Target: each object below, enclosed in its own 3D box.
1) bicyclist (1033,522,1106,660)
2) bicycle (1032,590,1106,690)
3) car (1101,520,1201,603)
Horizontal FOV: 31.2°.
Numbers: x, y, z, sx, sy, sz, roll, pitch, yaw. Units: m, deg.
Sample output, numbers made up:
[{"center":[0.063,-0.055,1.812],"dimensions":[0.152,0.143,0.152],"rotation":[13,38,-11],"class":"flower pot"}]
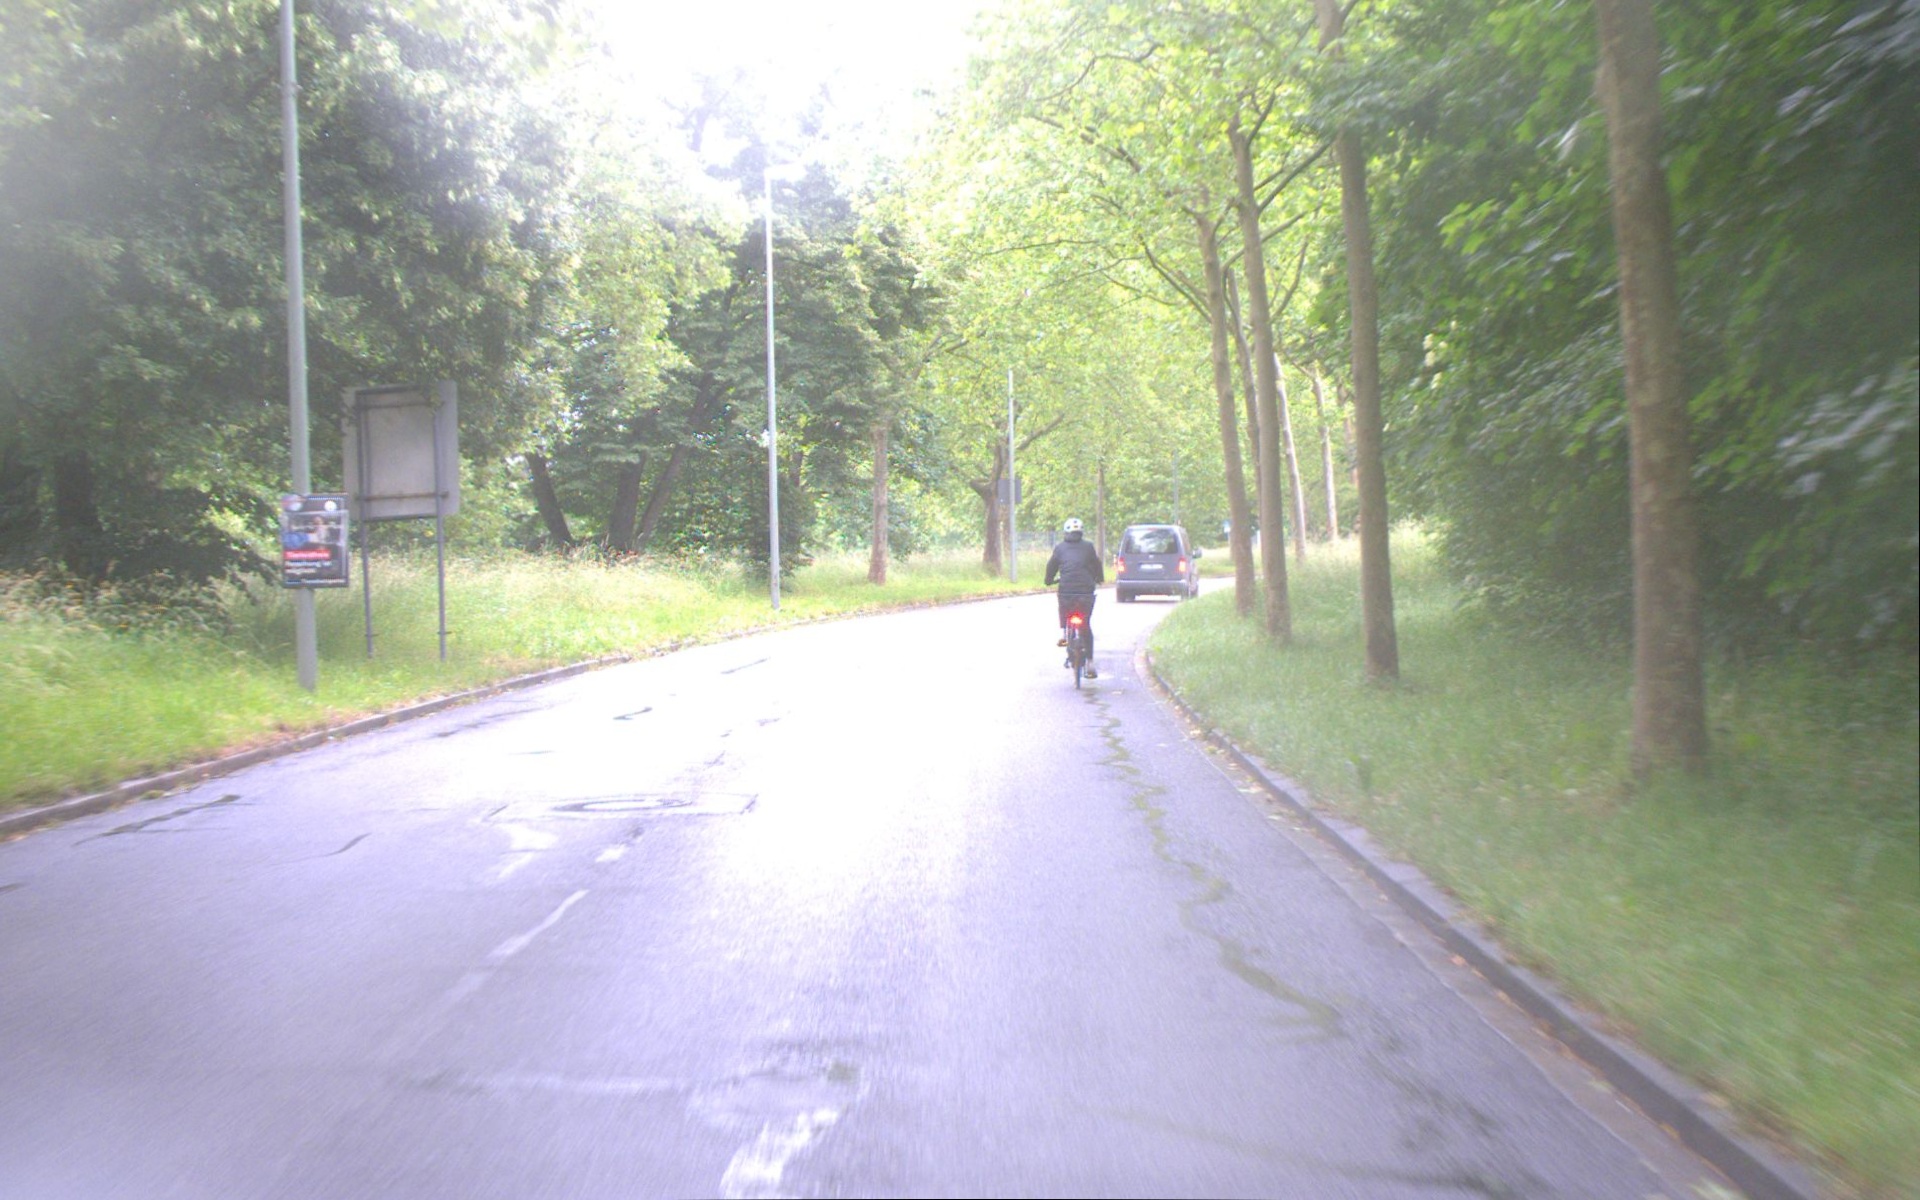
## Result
[{"center":[1.148,-0.101,35.830],"dimensions":[0.730,1.406,0.973],"rotation":[1,1,3],"class":"bicyclist"},{"center":[1.155,0.403,36.006],"dimensions":[0.730,0.970,2.173],"rotation":[1,1,3],"class":"bicycle"},{"center":[4.599,-0.945,82.191],"dimensions":[1.986,1.919,3.999],"rotation":[0,1,9],"class":"car"}]
